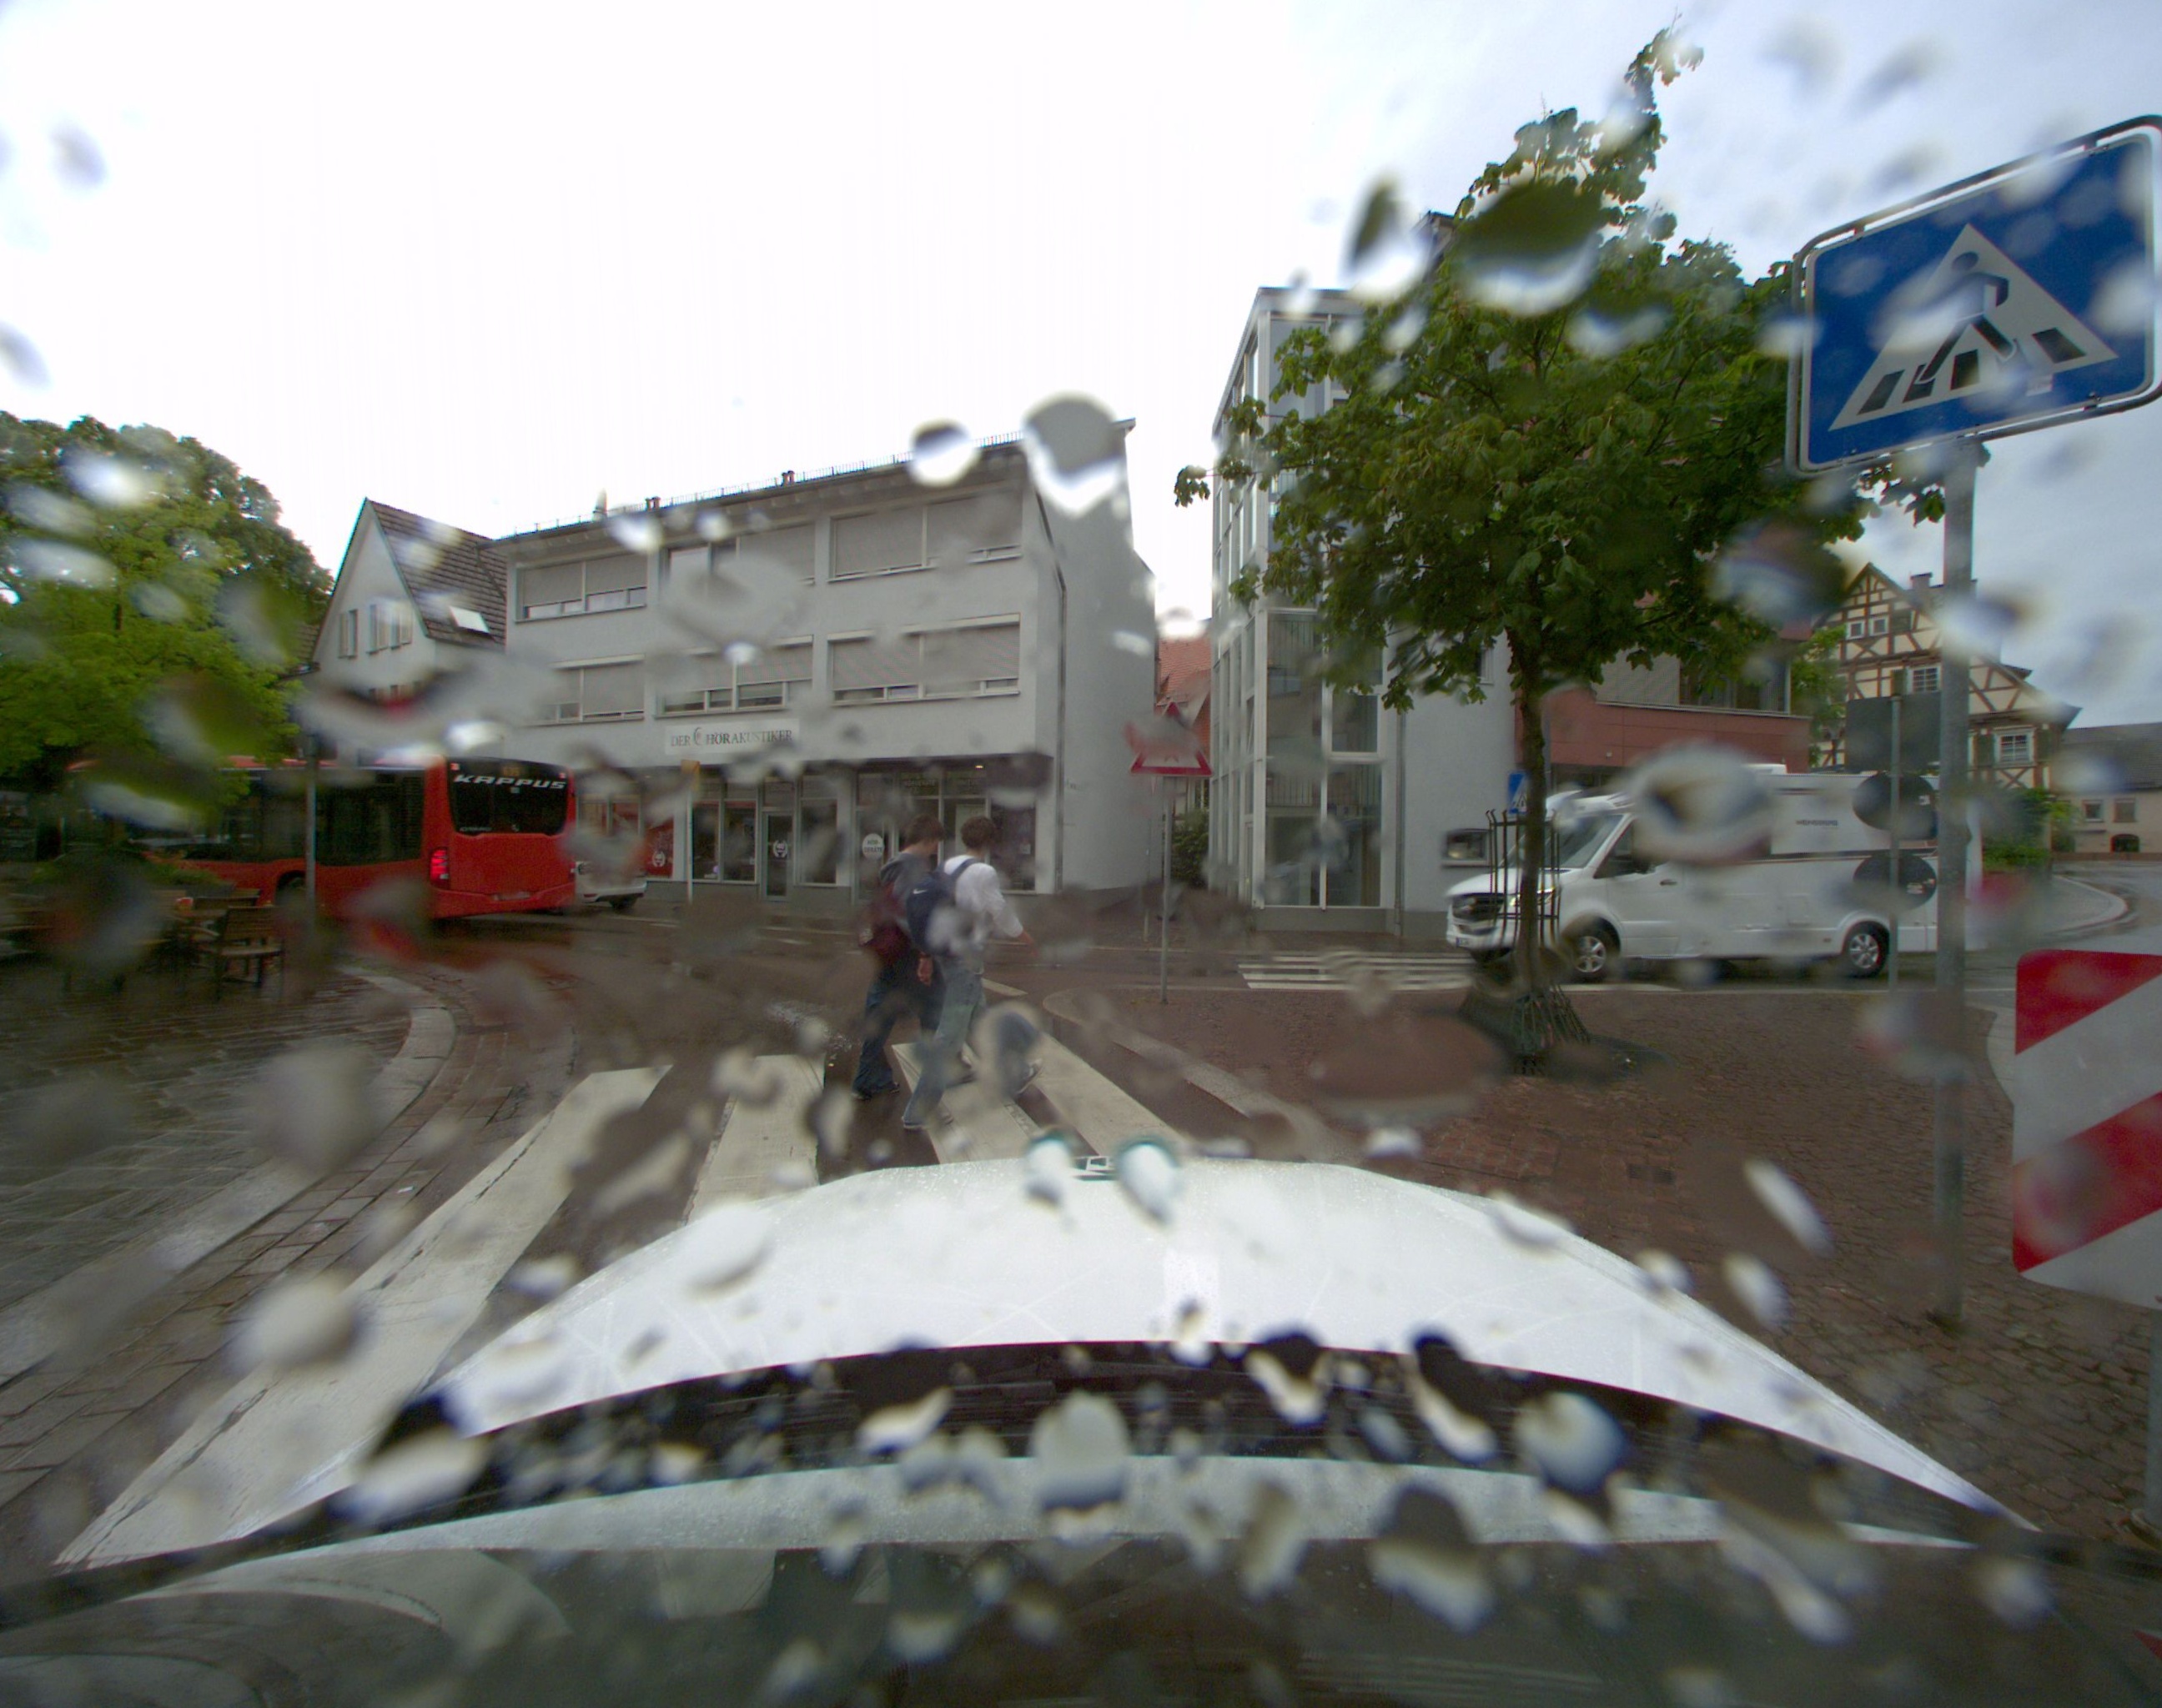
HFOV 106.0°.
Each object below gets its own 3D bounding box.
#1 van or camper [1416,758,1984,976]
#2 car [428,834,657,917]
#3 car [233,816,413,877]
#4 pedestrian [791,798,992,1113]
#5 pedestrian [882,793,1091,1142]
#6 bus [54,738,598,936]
[{"bbox_3d":[8.452,0.217,11.425,6.728,2.586,2.437,1,-1,-10],"label":"van or camper"},{"bbox_3d":[-11.791,0.404,17.872,4.419,1.630,1.790,1,2,18],"label":"car"},{"bbox_3d":[-19.917,-0.182,21.428,3.817,1.496,1.808,0,-1,18],"label":"car"},{"bbox_3d":[-1.202,0.581,5.291,0.685,1.800,1.065,0,-1,37],"label":"pedestrian"},{"bbox_3d":[-0.533,0.591,4.846,0.657,1.807,1.067,0,-1,39],"label":"pedestrian"},{"bbox_3d":[-14.578,-0.424,15.660,10.489,3.088,2.835,1,2,18],"label":"bus"}]
